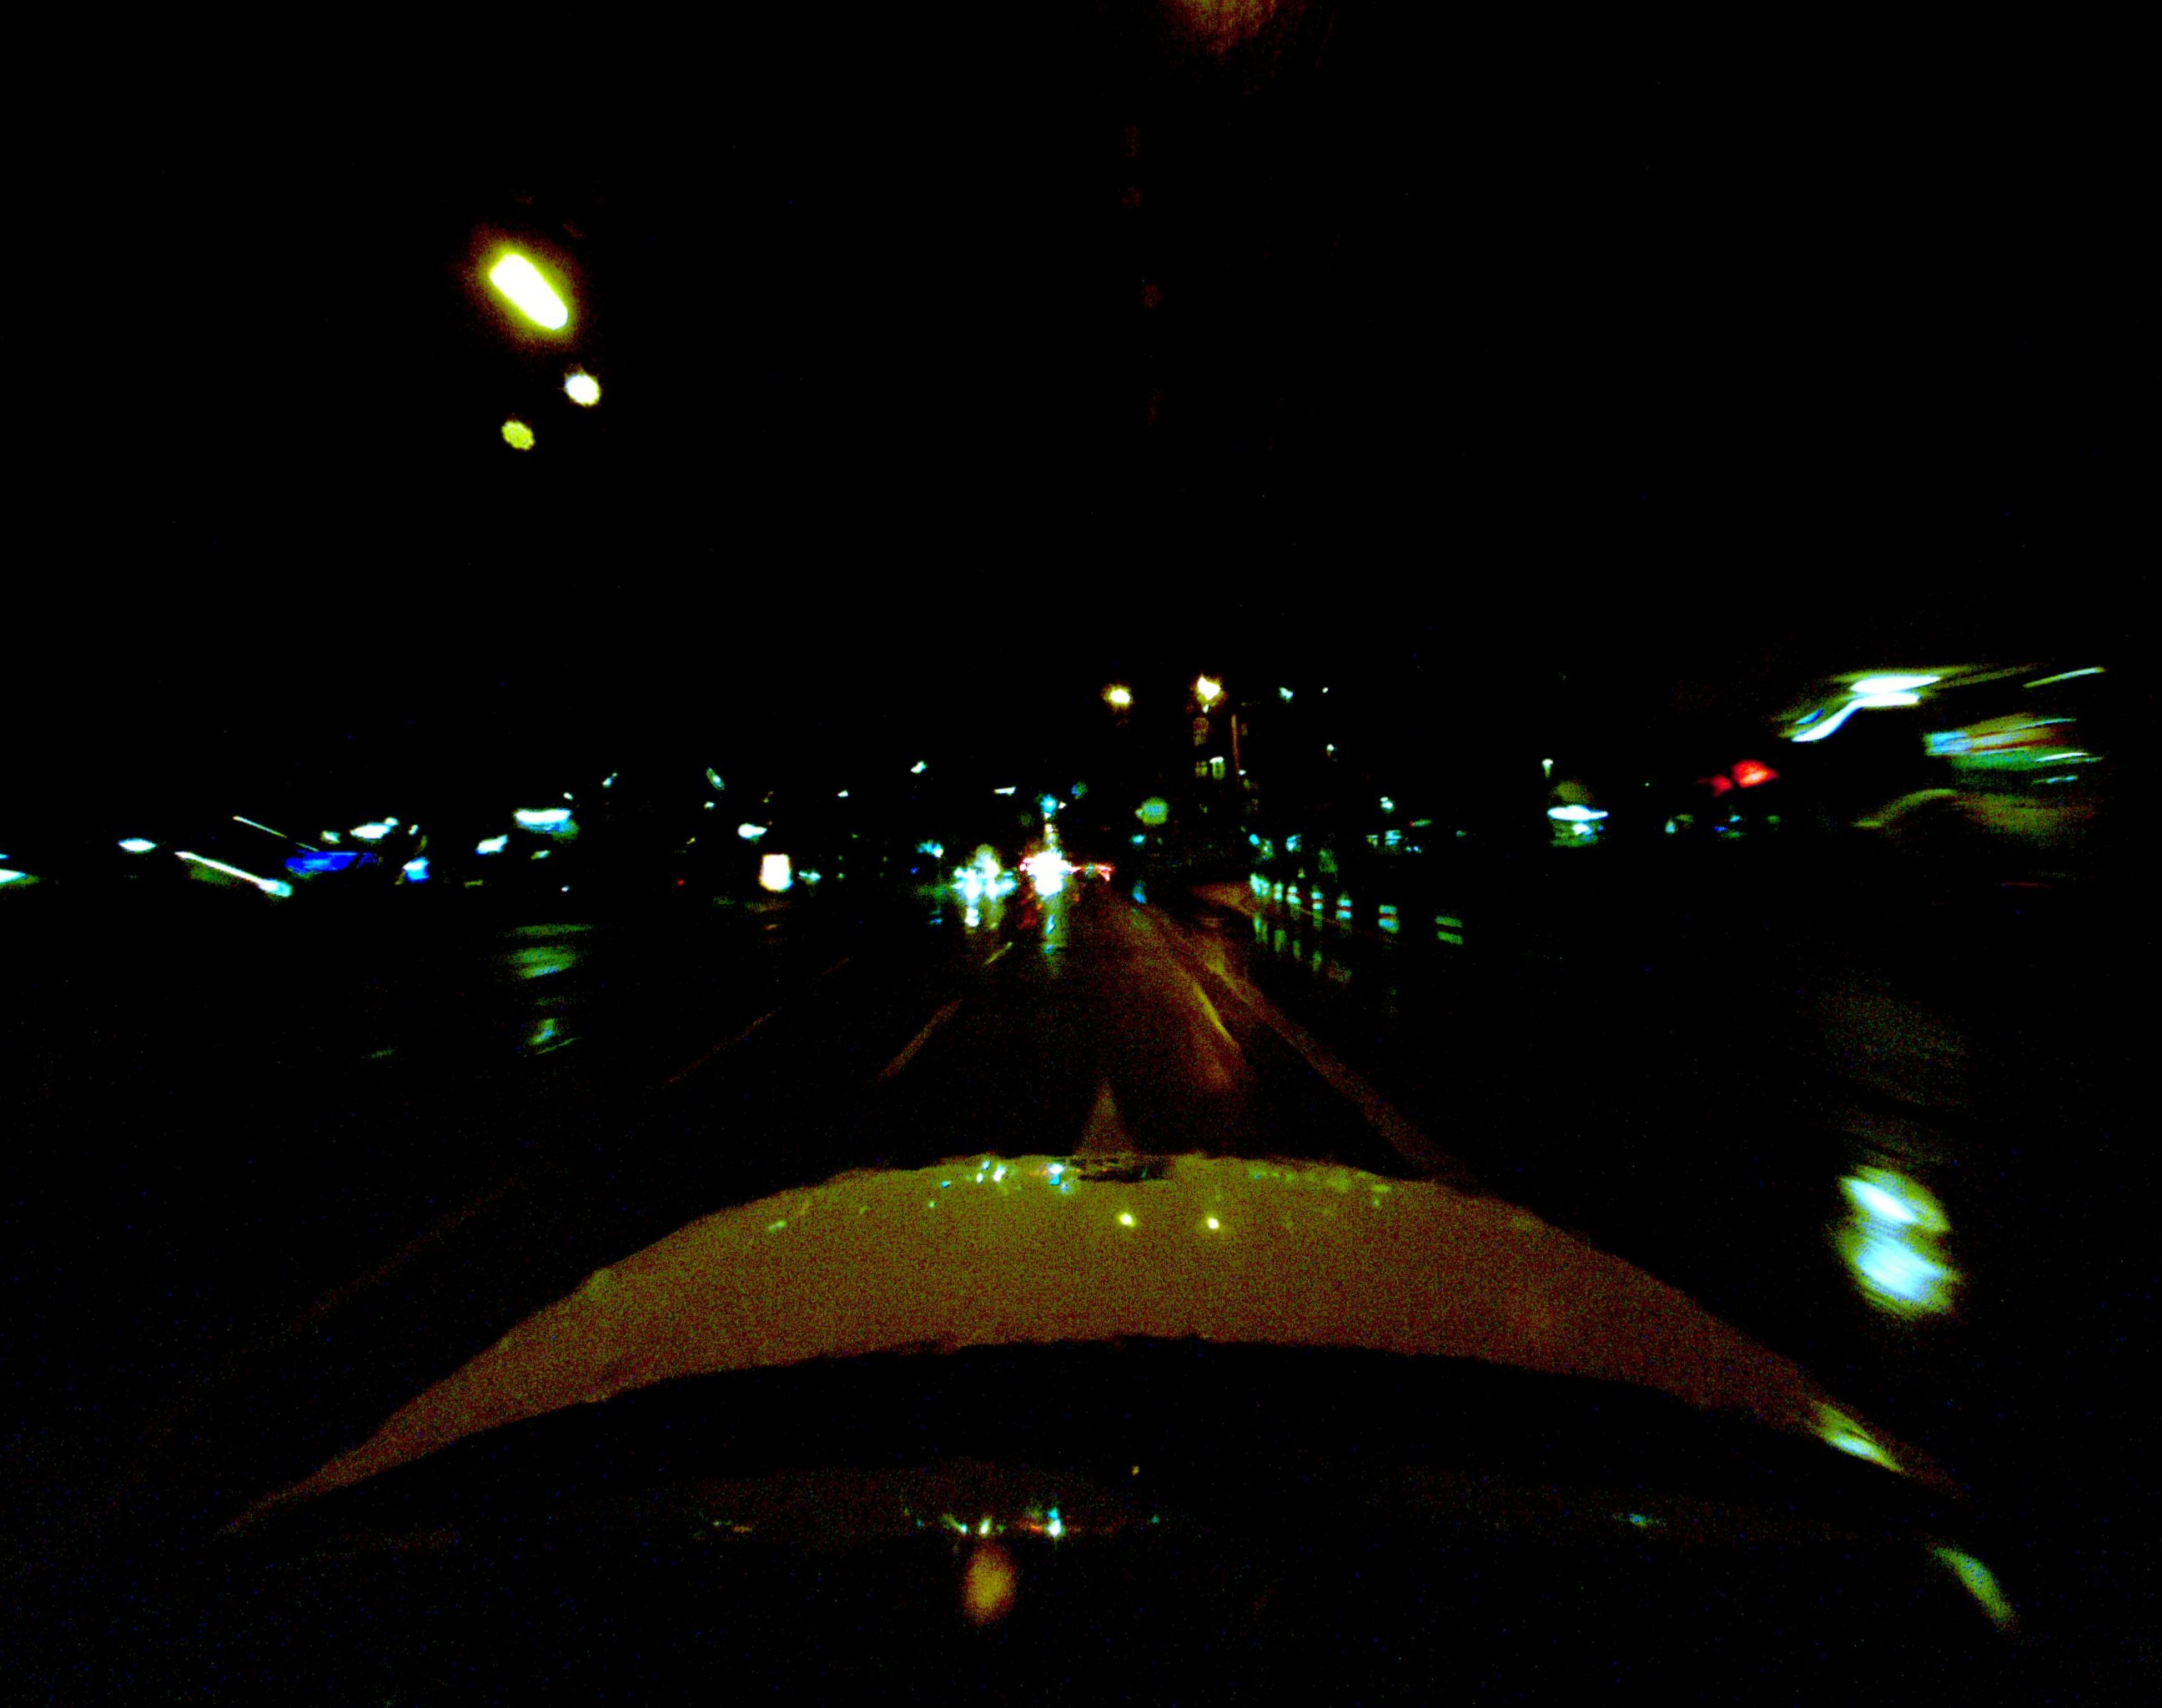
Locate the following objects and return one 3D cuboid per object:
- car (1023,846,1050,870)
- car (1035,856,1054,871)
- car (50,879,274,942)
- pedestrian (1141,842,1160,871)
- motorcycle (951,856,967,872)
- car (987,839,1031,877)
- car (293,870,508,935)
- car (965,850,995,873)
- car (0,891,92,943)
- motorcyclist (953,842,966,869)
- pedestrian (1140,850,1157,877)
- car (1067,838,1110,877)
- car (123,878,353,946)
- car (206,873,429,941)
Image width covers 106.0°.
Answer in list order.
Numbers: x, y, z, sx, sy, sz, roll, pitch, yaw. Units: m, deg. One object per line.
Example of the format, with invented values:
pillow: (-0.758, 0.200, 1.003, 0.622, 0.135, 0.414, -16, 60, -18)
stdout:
car: (-3.181, 0.312, 57.925, 1.814, 1.542, 4.720, -2, -1, -4)
car: (-3.880, 1.016, 86.580, 1.705, 1.542, 3.979, -2, -1, -7)
car: (-26.492, 1.580, 23.669, 1.699, 1.520, 3.939, -2, 0, 21)
pedestrian: (4.486, 0.182, 52.695, 1.103, 1.825, 0.851, -2, 0, 2)
motorcycle: (-9.167, 0.778, 61.391, 0.698, 1.138, 2.178, -2, 0, 4)
car: (-4.122, 0.212, 47.207, 2.028, 1.953, 5.197, -4, 0, -1)
car: (-17.508, 1.196, 21.193, 1.699, 1.431, 3.939, -2, 0, 21)
car: (-7.179, 0.531, 58.169, 1.849, 1.499, 4.763, -2, 0, -4)
car: (-34.191, 2.017, 25.366, 1.699, 1.520, 3.939, -2, 0, 21)
motorcyclist: (-9.175, 0.128, 61.516, 0.690, 2.013, 0.983, -2, 0, 4)
pedestrian: (4.648, 0.640, 56.327, 1.102, 1.825, 0.852, -2, 0, 4)
car: (0.375, 0.193, 45.689, 2.163, 1.972, 4.298, -2, -1, -2)
car: (-22.527, 1.492, 21.967, 1.699, 1.520, 3.939, -2, 0, 21)
car: (-20.054, 1.343, 21.607, 1.699, 1.520, 3.939, -2, 0, 21)
